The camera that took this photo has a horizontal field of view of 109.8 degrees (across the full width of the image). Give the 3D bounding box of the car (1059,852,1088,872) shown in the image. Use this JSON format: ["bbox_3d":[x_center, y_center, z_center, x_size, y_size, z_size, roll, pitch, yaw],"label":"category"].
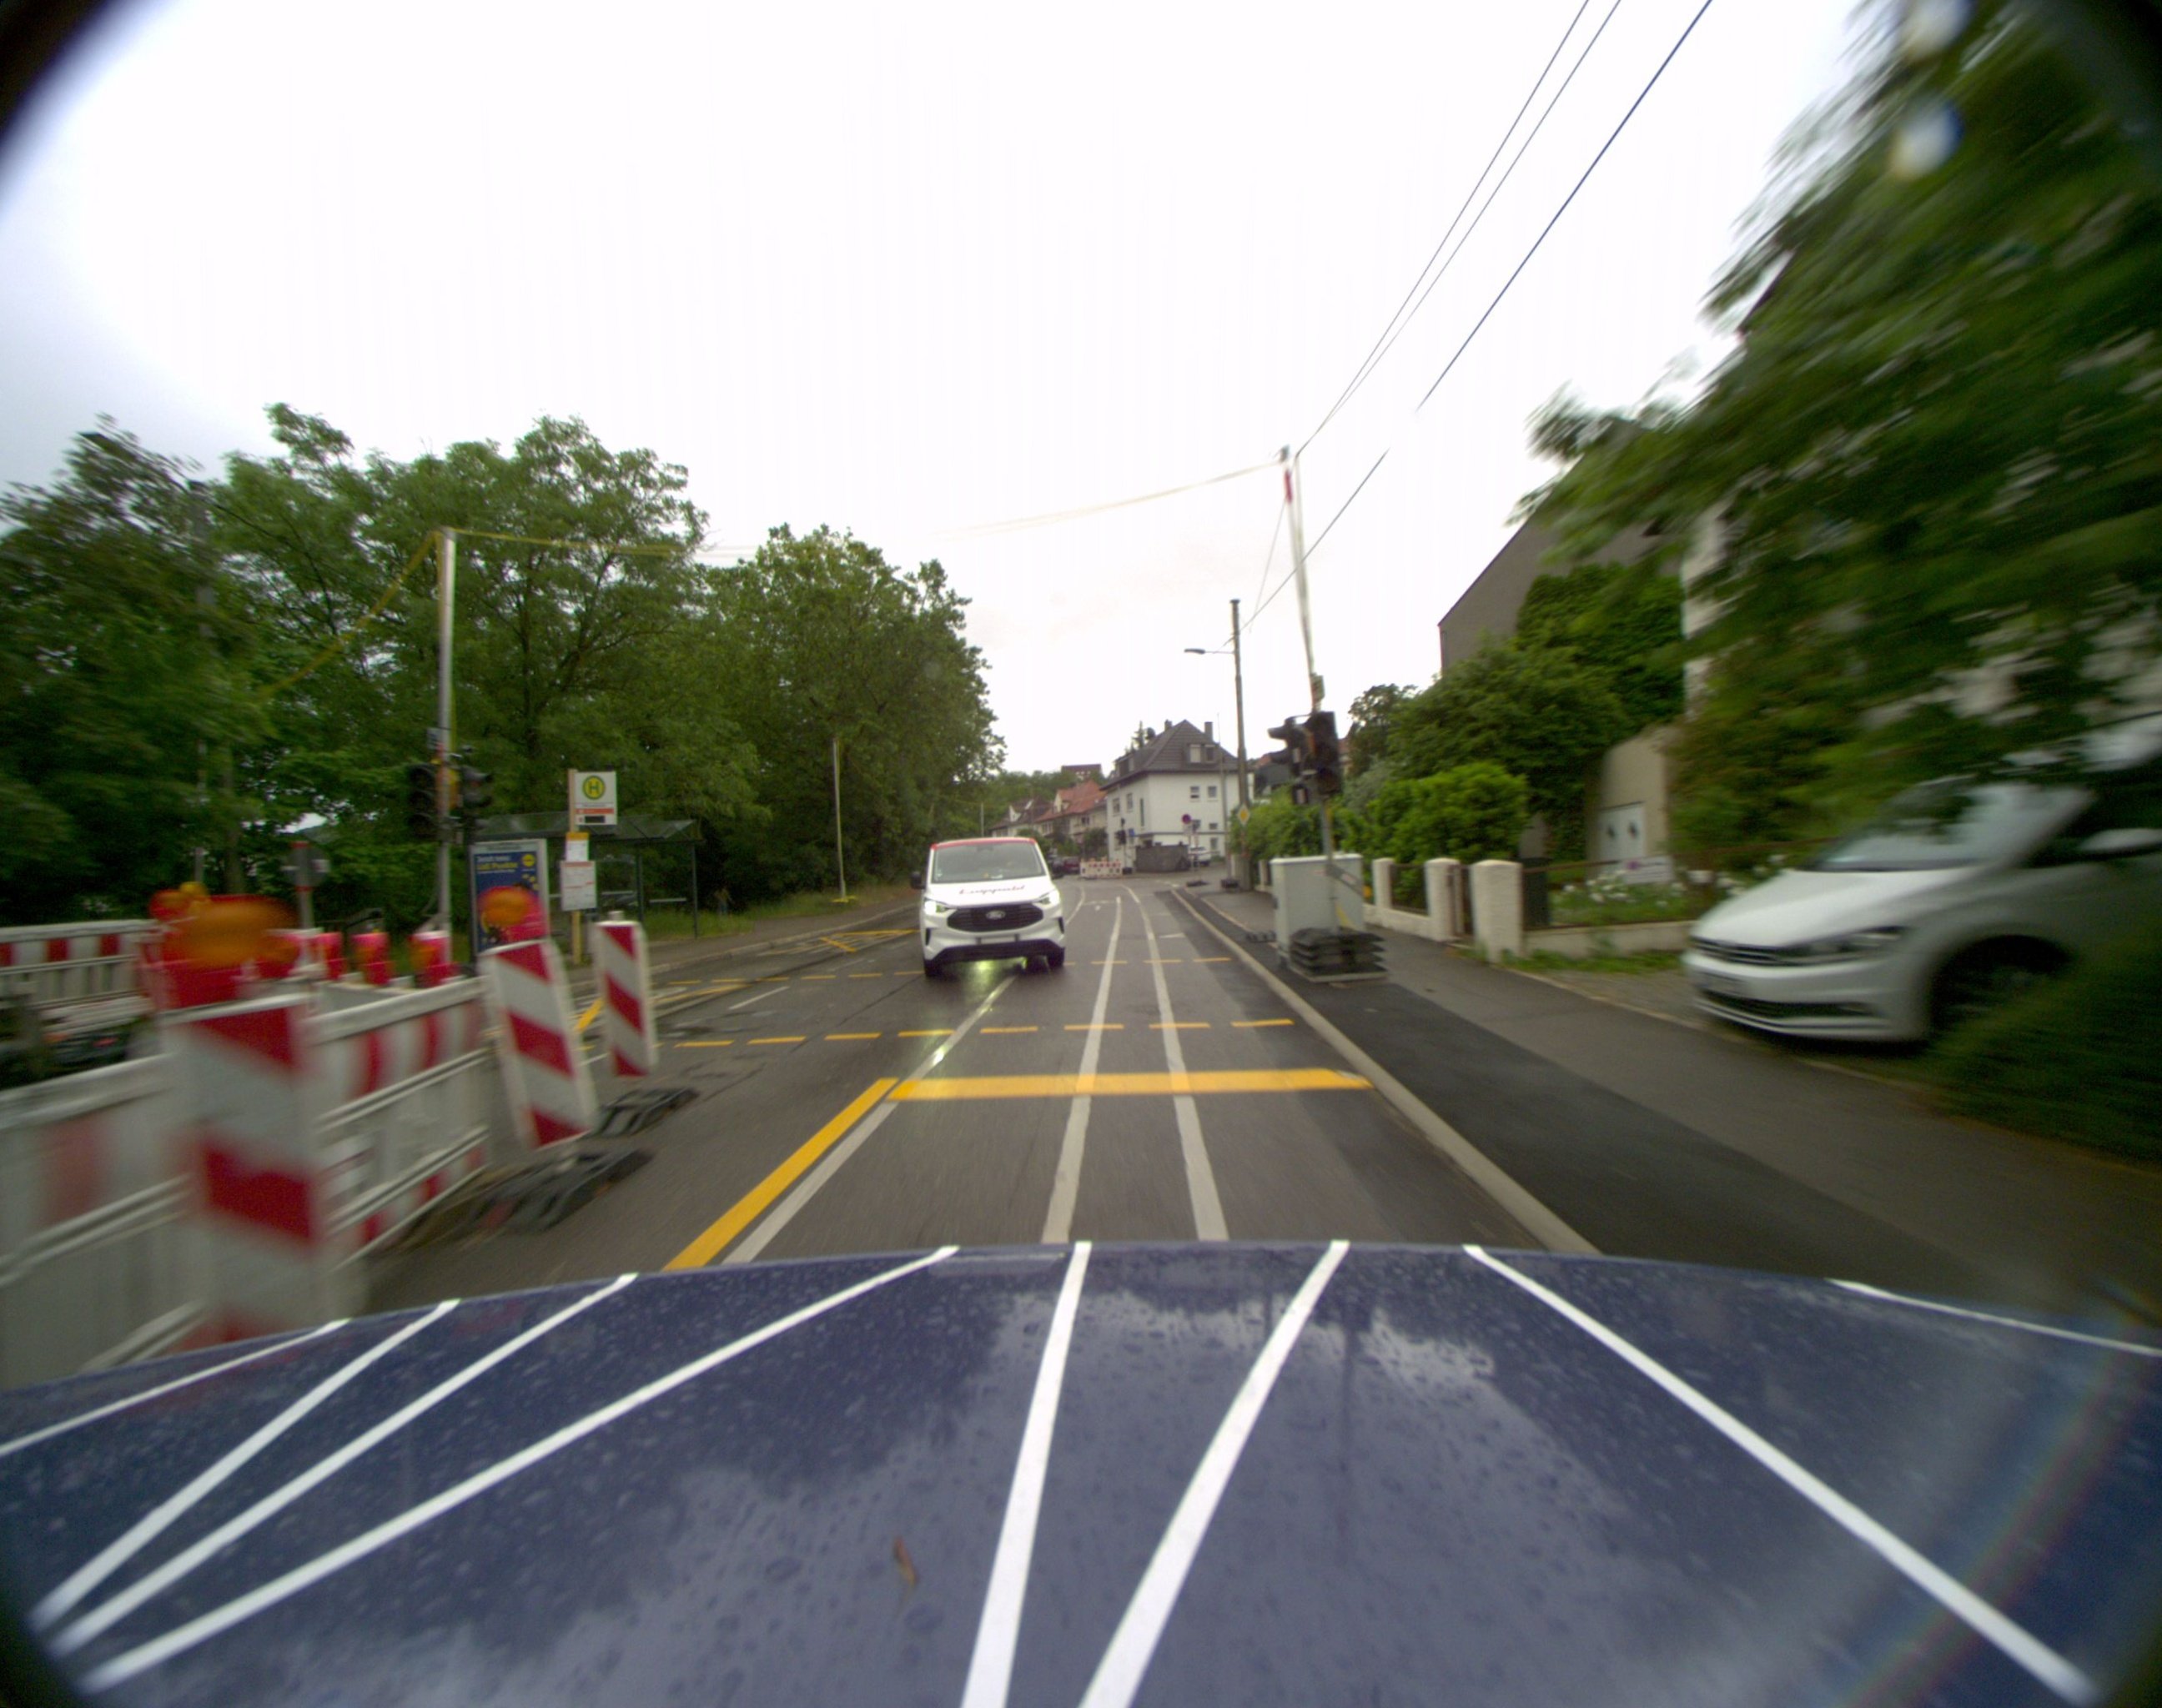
[{"bbox_3d":[-0.656,0.704,64.114,1.899,1.485,3.795,-3,-1,-9],"label":"car"}]

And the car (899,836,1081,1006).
[{"bbox_3d":[-1.411,0.772,11.736,2.047,1.883,5.205,-4,1,-7],"label":"car"}]

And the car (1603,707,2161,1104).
[{"bbox_3d":[6.423,0.004,4.476,4.972,1.607,1.866,-14,-3,14],"label":"car"}]

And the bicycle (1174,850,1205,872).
[{"bbox_3d":[6.892,0.428,48.361,1.732,1.304,0.707,-4,2,-8],"label":"bicycle"}]

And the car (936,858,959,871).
[{"bbox_3d":[-15.550,1.212,88.582,1.824,1.328,3.626,-4,1,3],"label":"car"}]

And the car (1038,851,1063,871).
[{"bbox_3d":[-2.766,0.628,68.543,1.670,1.579,4.003,-4,-1,-9],"label":"car"}]
